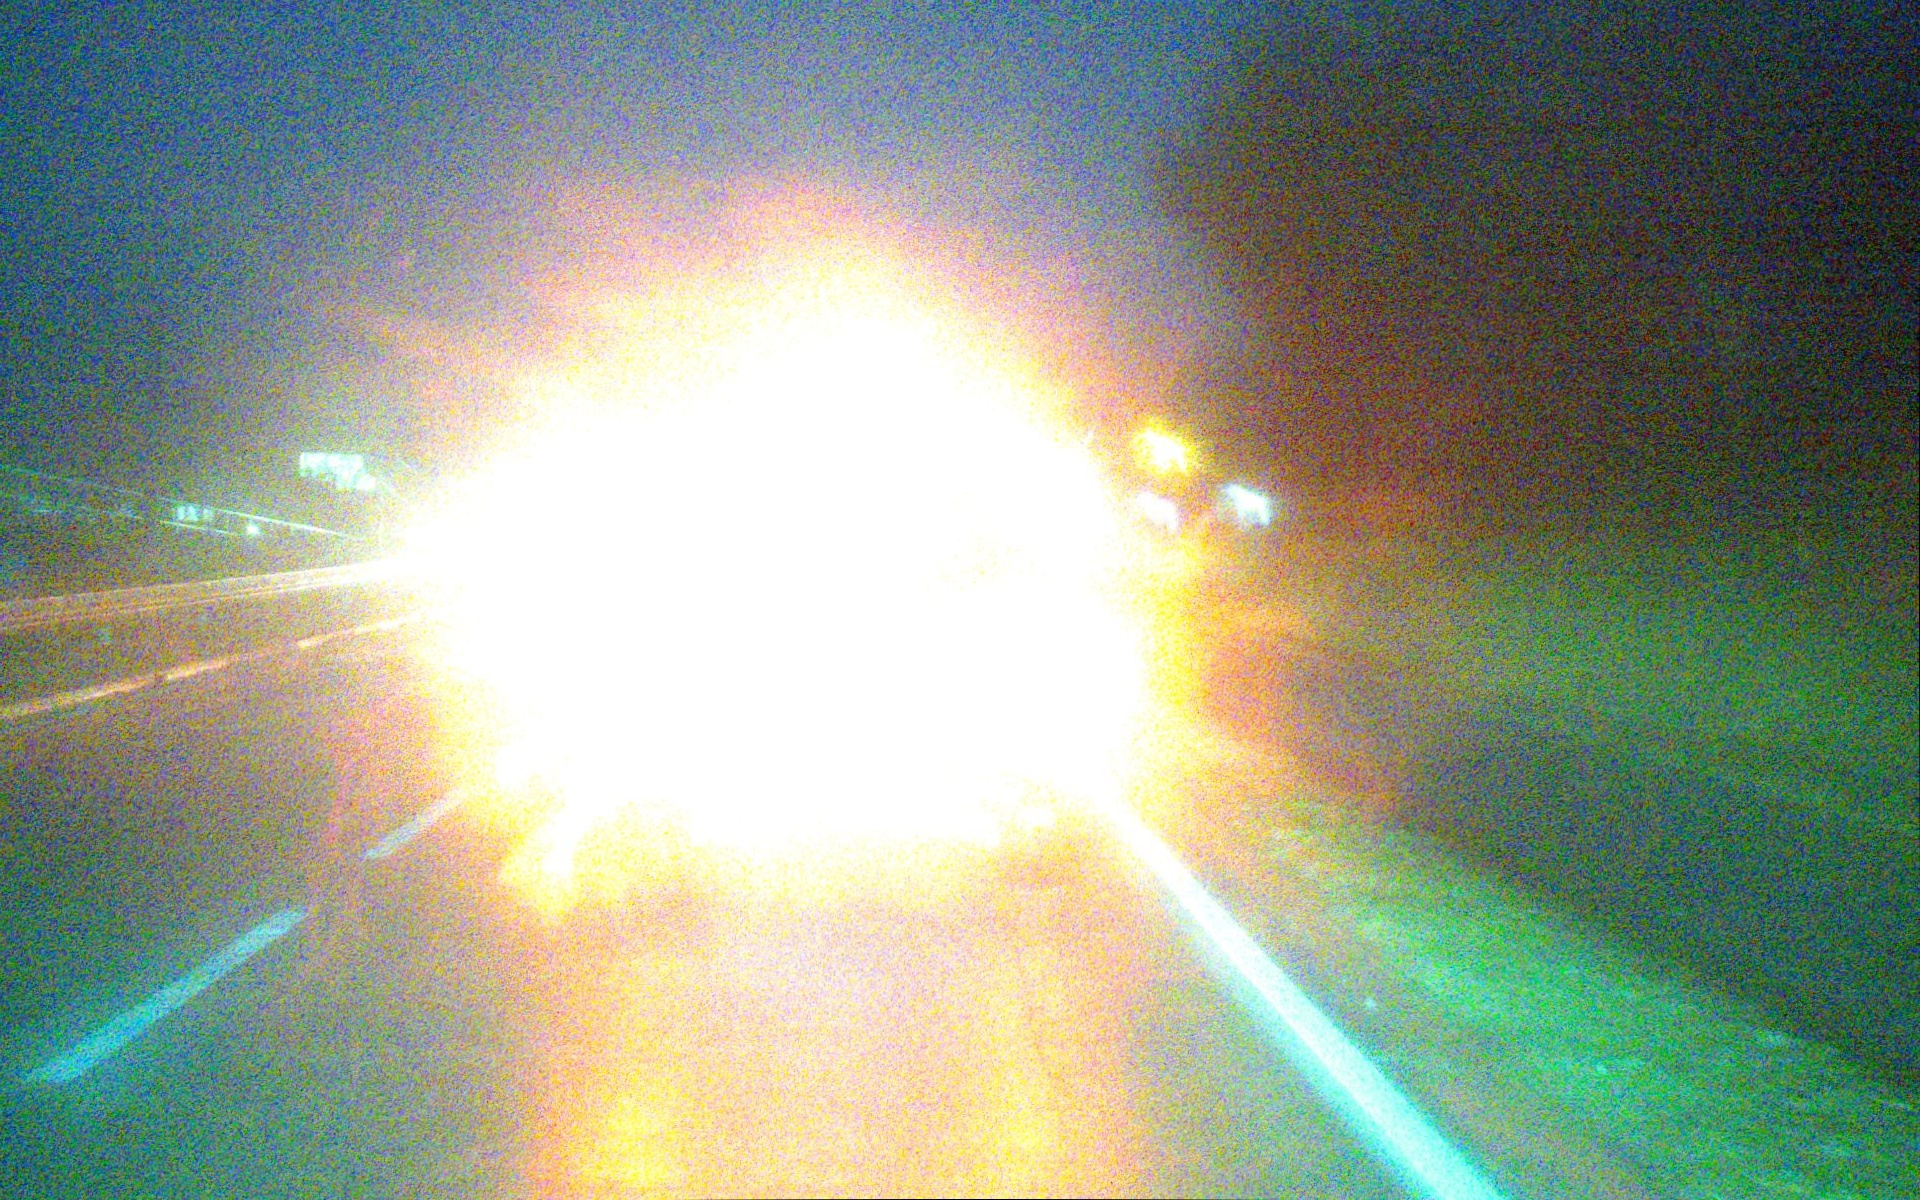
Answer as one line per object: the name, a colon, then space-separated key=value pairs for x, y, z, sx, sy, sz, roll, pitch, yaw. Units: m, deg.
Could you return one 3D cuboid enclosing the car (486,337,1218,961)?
car: x=-0.512 y=0.139 z=16.070 sx=2.715 sy=2.300 sz=6.101 roll=1 pitch=1 yaw=-2
